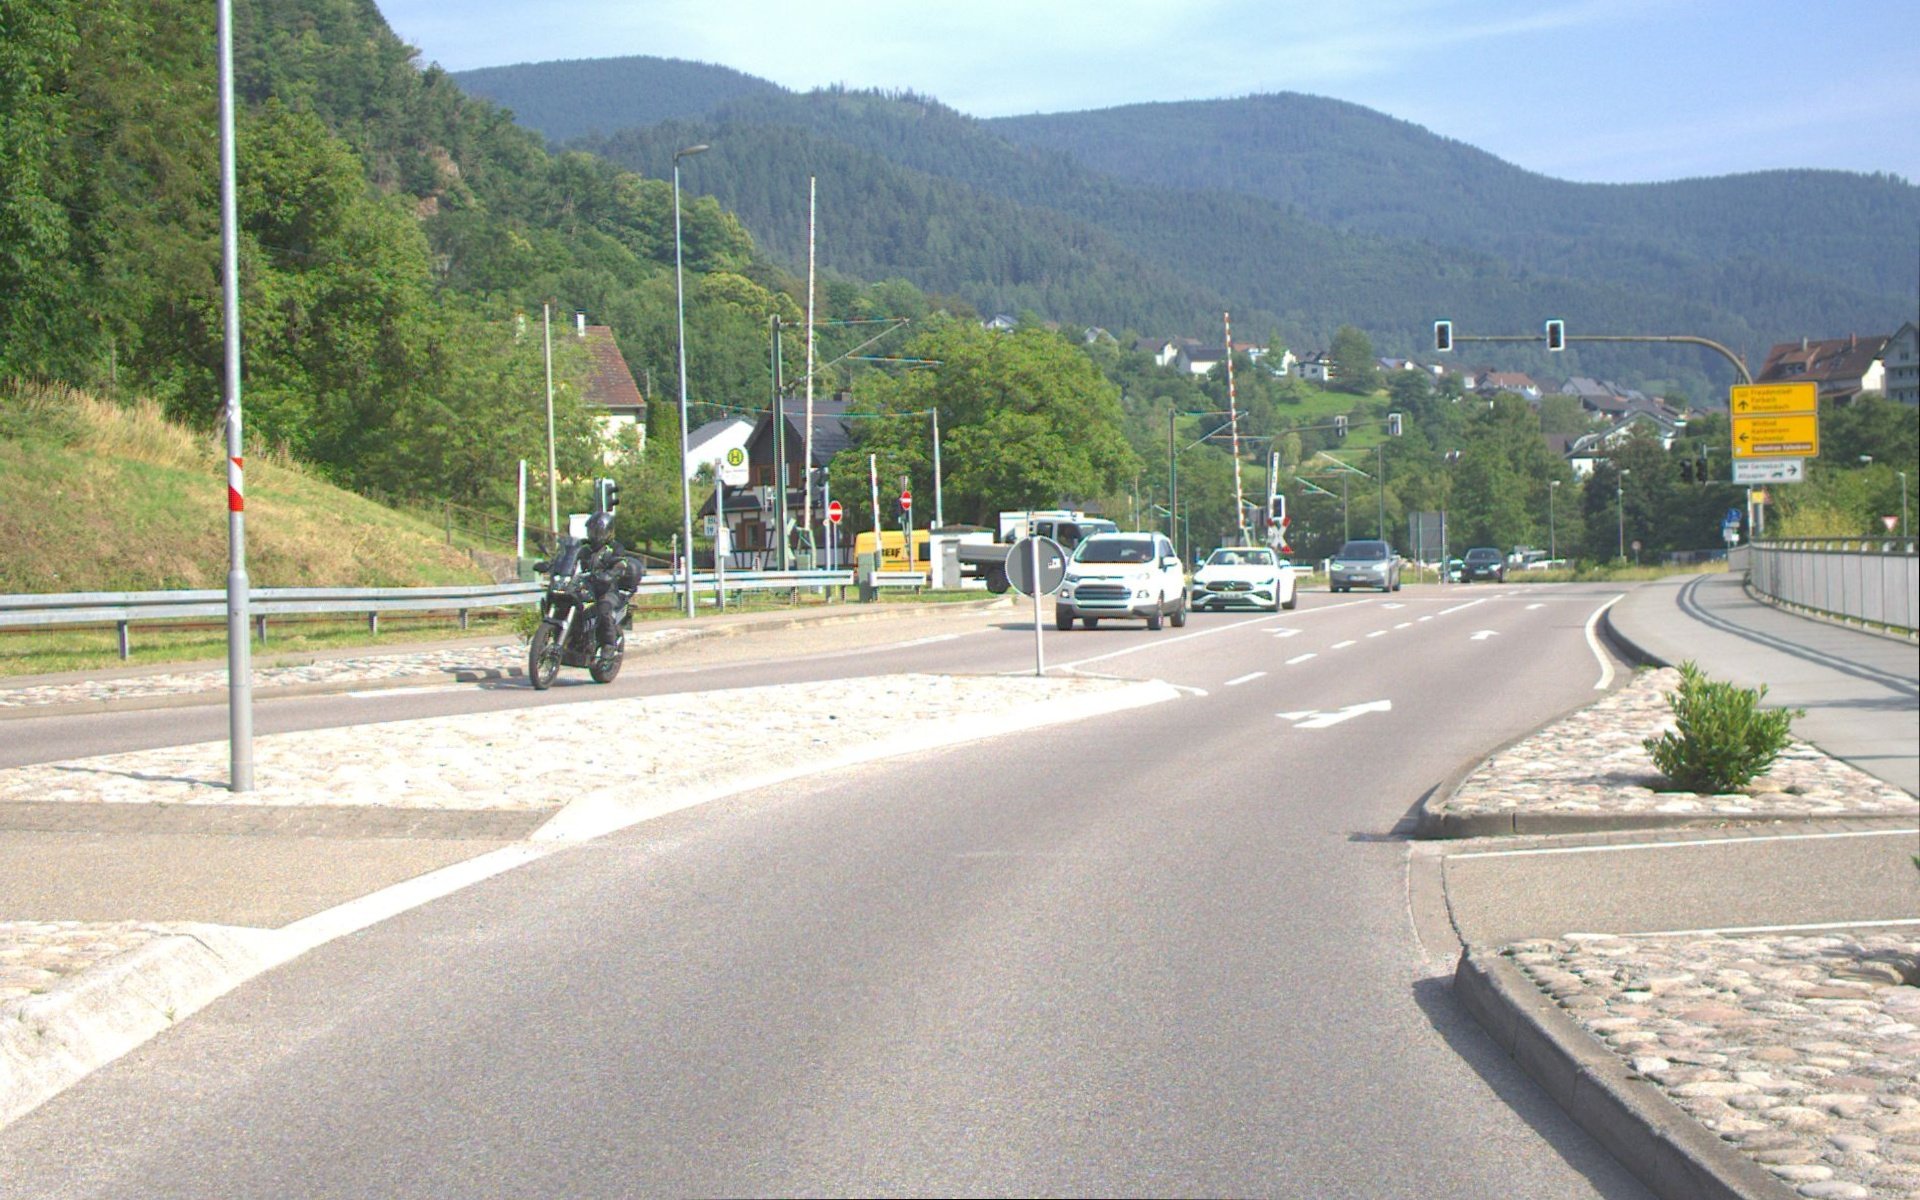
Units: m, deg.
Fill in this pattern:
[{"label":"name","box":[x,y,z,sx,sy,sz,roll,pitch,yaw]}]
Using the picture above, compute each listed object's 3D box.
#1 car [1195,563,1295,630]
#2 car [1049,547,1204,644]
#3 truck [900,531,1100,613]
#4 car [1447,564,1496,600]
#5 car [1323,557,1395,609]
[{"label":"car","box":[6.235,-0.081,74.824,1.783,1.395,4.825,0,0,9]},{"label":"car","box":[2.839,-0.082,57.831,1.765,1.555,3.997,1,0,15]},{"label":"truck","box":[1.106,-0.839,98.887,5.999,2.258,1.995,1,2,44]},{"label":"car","box":[21.021,-0.751,141.221,1.774,1.412,3.783,-2,0,11]},{"label":"car","box":[11.995,-0.494,103.226,1.759,1.516,4.202,1,0,12]}]
